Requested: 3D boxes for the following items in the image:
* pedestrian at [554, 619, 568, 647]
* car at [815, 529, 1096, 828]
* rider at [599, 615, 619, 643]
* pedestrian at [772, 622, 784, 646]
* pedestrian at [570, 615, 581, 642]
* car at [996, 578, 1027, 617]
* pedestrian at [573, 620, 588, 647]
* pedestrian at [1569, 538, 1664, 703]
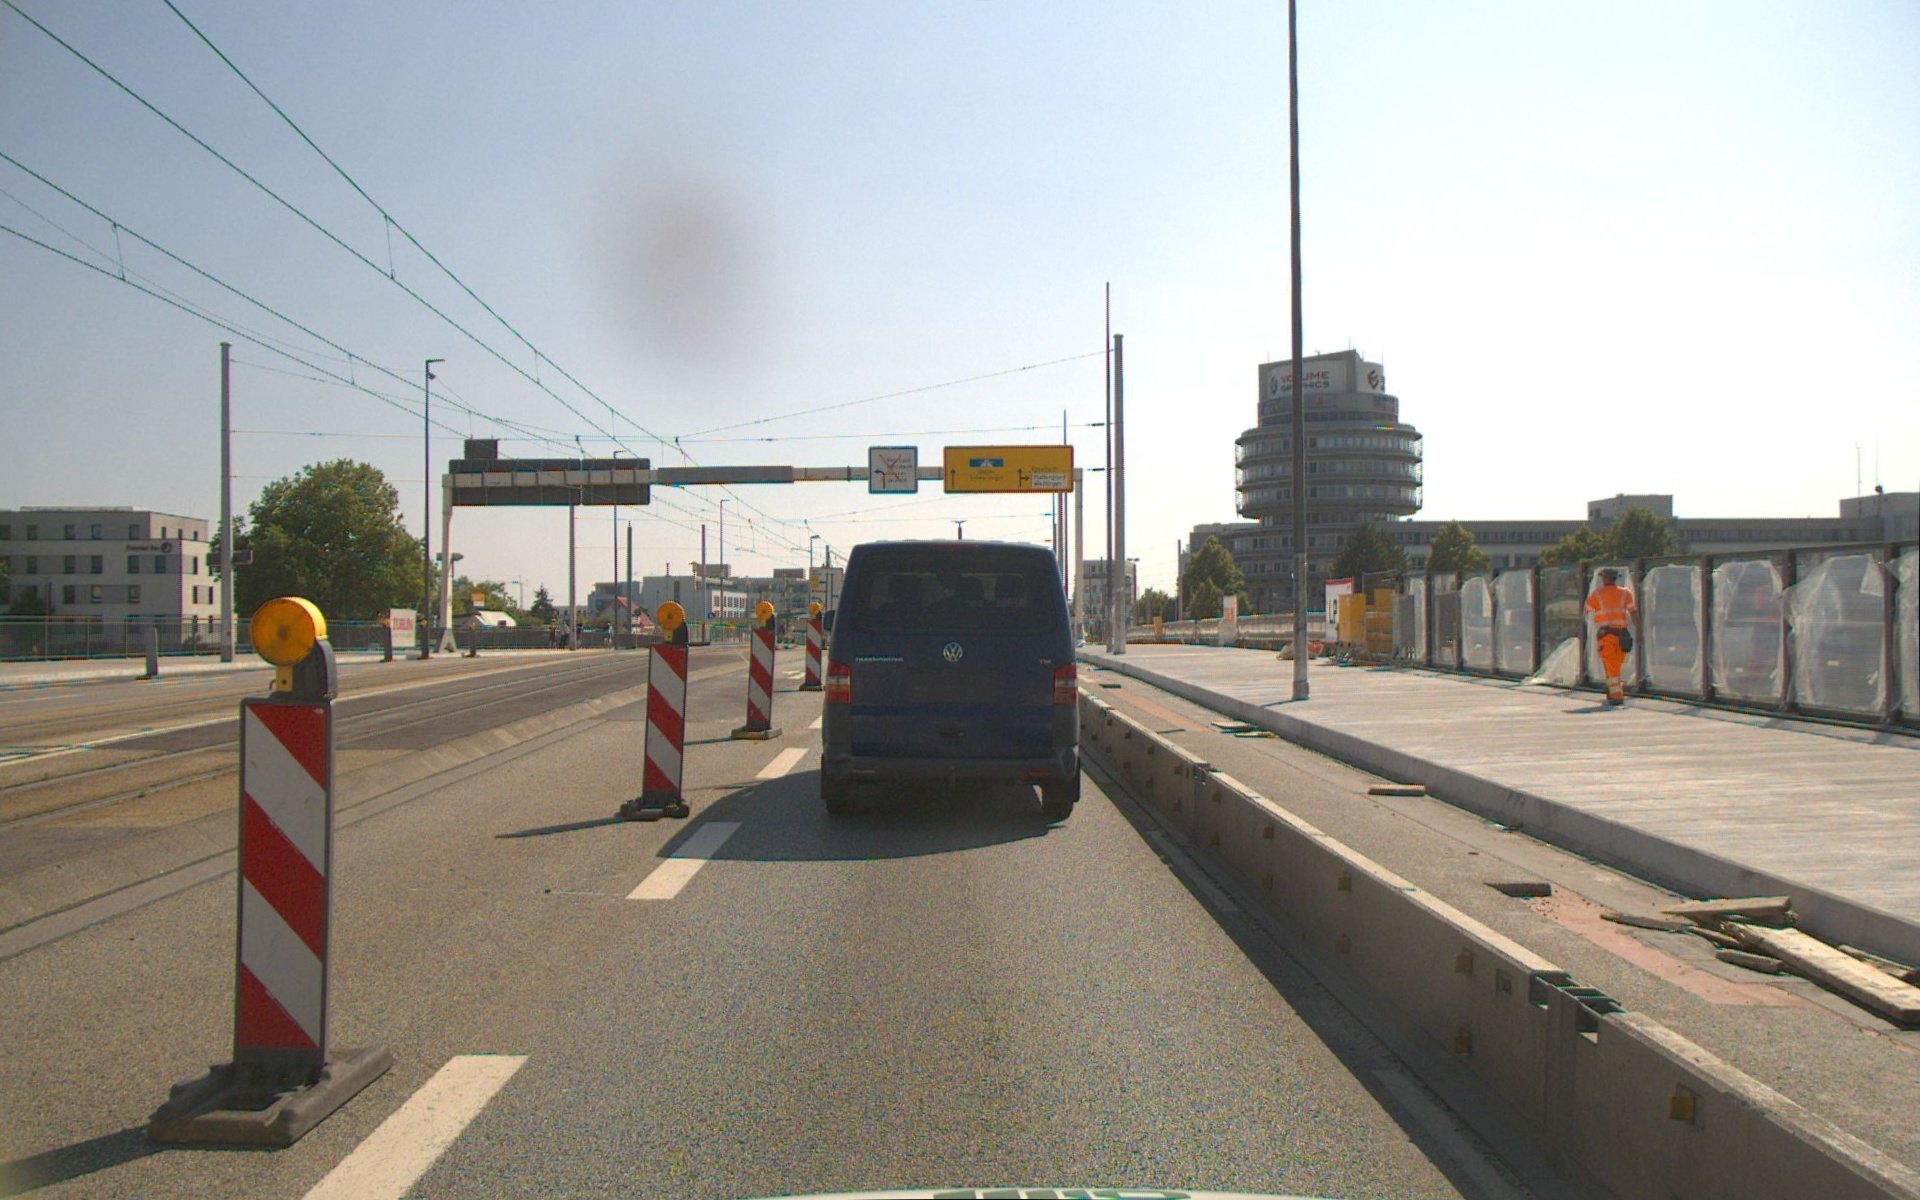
[{"bbox_3d":[-25.039,2.077,103.811,0.585,1.717,0.818,-1,-1,3],"label":"pedestrian"},{"bbox_3d":[-0.055,0.556,13.096,1.849,1.968,3.999,1,-1,-1],"label":"car"},{"bbox_3d":[-22.883,1.890,107.806,0.748,1.763,2.950,0,-1,-1],"label":"rider"},{"bbox_3d":[-13.038,2.449,118.770,0.646,1.683,0.740,-1,-1,14],"label":"pedestrian"},{"bbox_3d":[-24.252,1.784,104.293,0.476,1.717,0.808,-1,-1,3],"label":"pedestrian"},{"bbox_3d":[4.025,-0.148,129.992,2.290,2.938,5.970,1,-1,1],"label":"car"},{"bbox_3d":[-24.519,2.168,106.774,0.737,1.717,0.732,-1,-1,3],"label":"pedestrian"},{"bbox_3d":[8.231,0.251,20.779,0.716,1.999,1.016,-2,-1,0],"label":"pedestrian"}]
